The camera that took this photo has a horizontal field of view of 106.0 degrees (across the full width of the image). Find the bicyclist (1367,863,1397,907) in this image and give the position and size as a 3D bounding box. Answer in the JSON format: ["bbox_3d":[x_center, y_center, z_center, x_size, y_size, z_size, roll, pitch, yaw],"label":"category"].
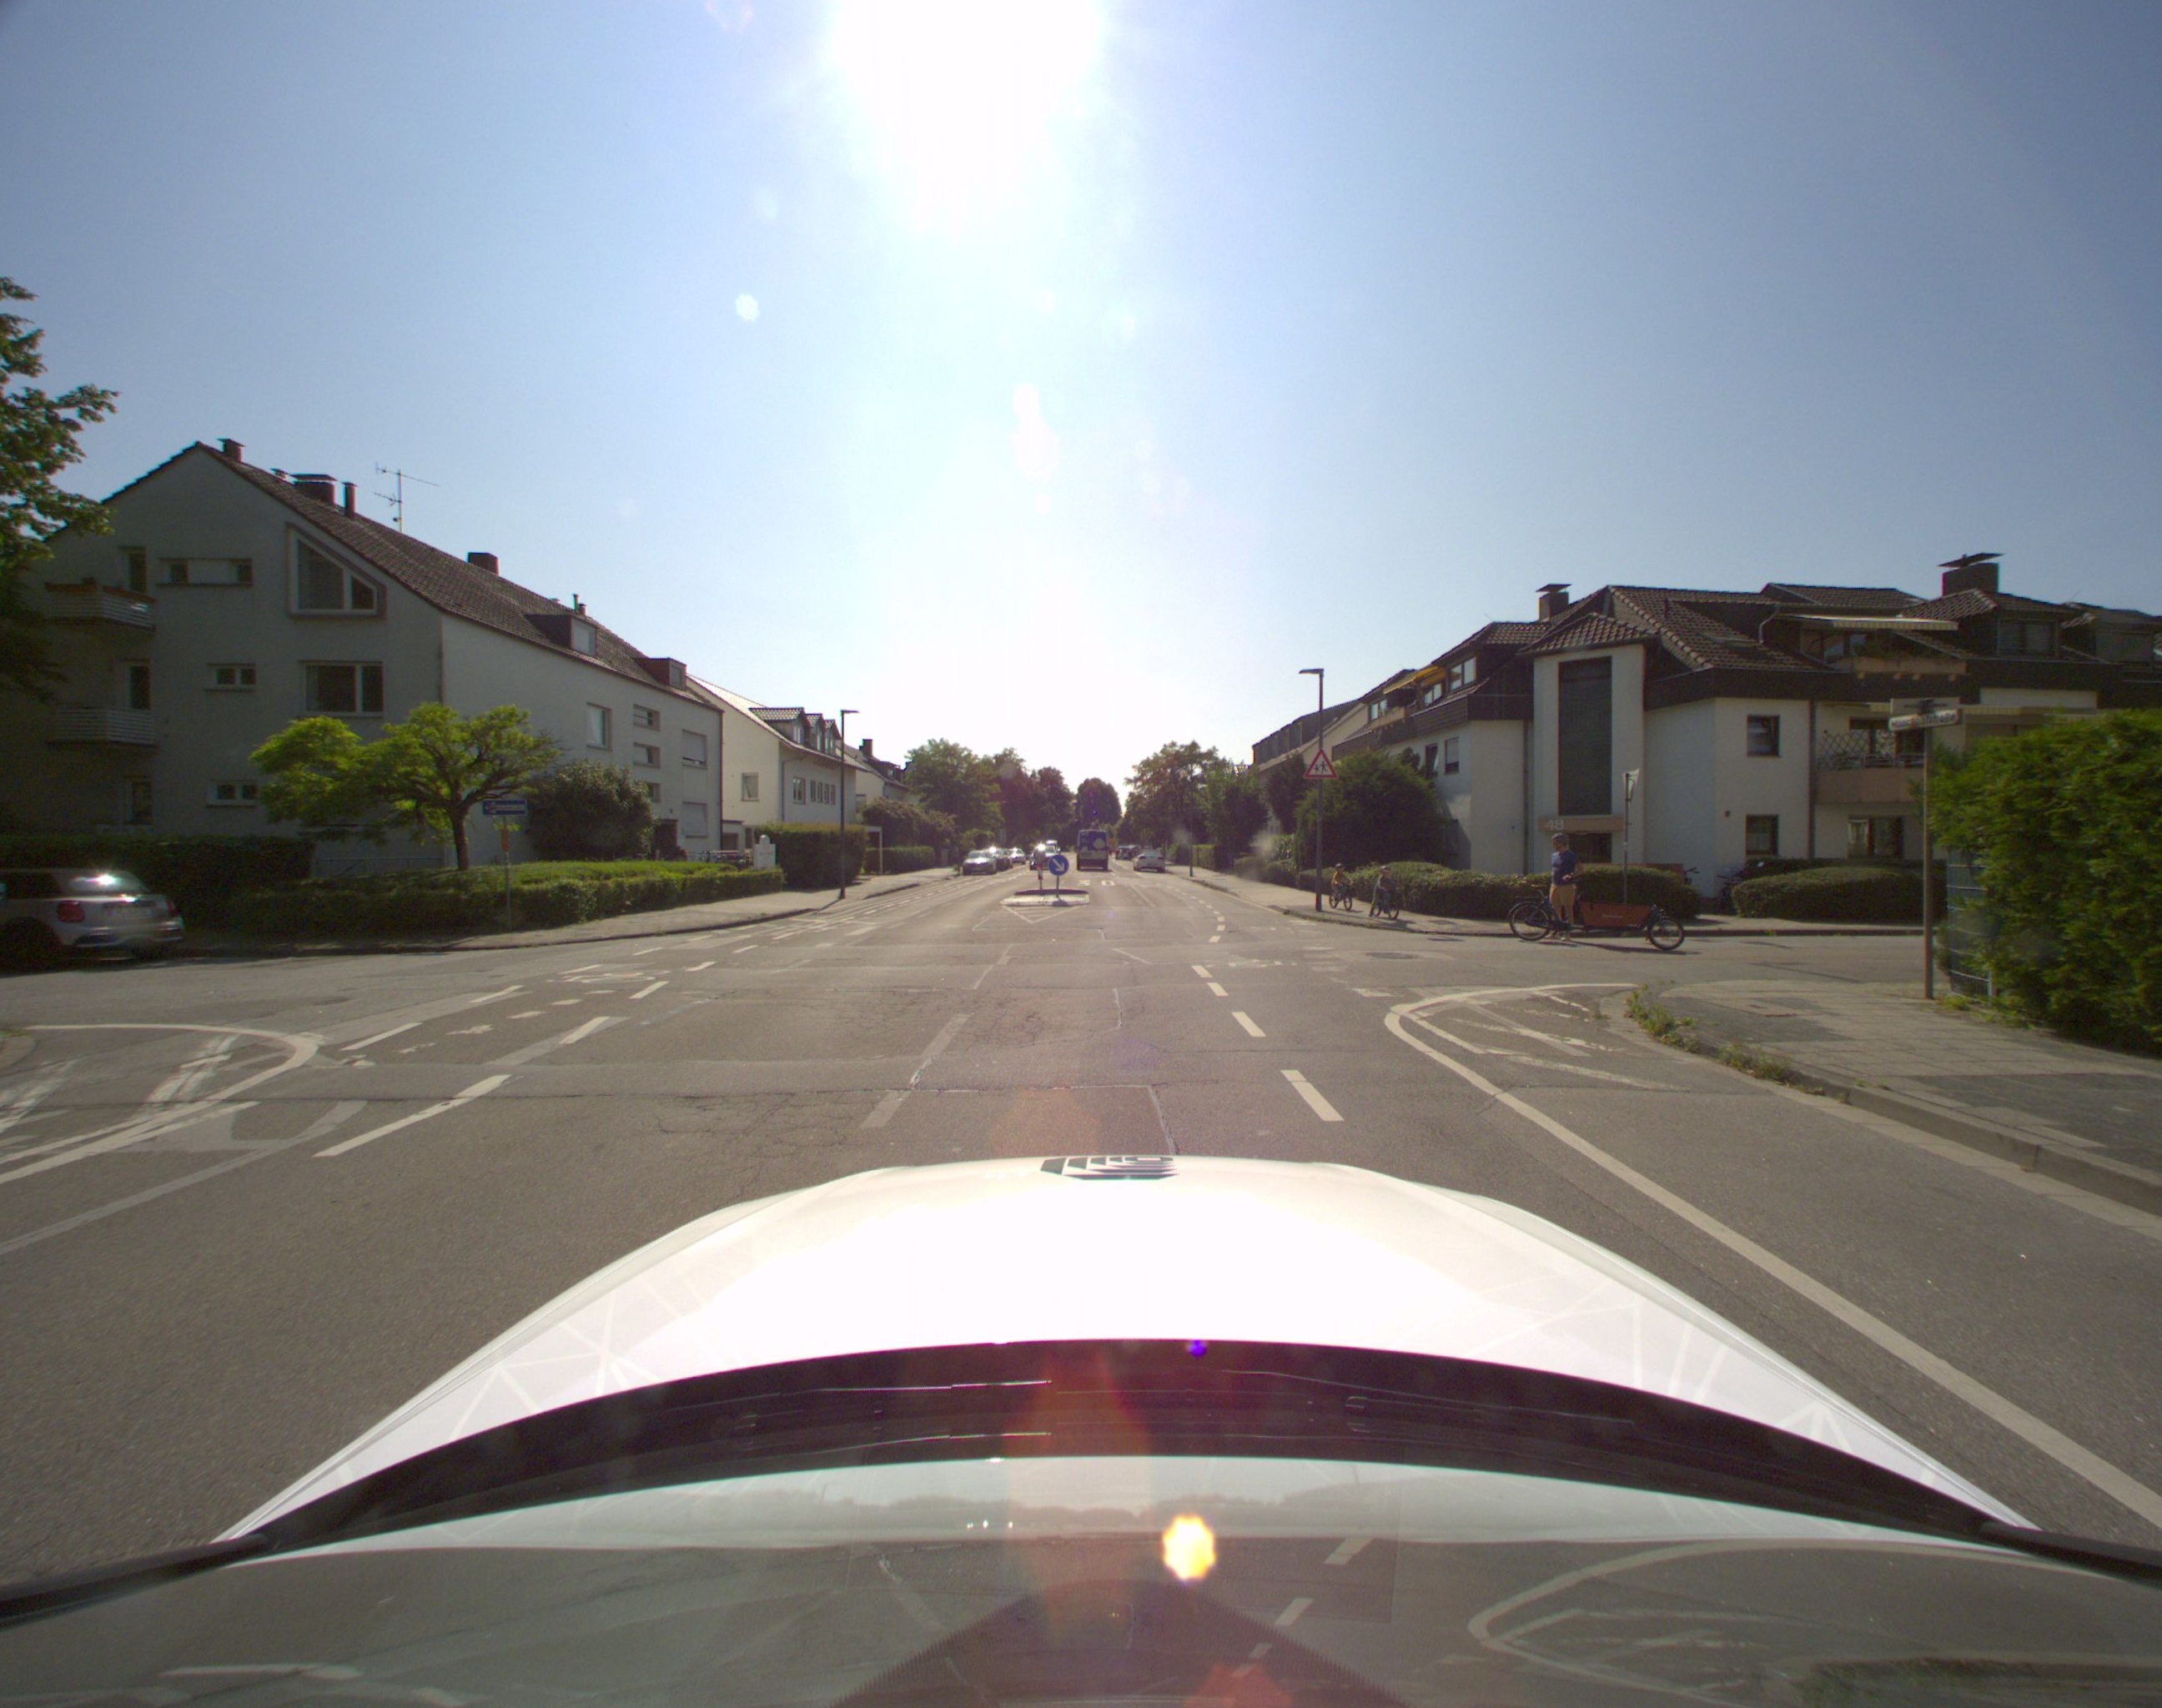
[{"bbox_3d":[6.516,0.657,17.651,0.400,0.929,0.657,0,0,-2],"label":"bicyclist"}]

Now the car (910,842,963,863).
[{"bbox_3d":[-11.839,-0.134,66.852,3.973,1.759,2.000,0,1,0],"label":"car"}]

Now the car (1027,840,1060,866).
[{"bbox_3d":[-2.538,-0.067,55.995,1.908,1.666,4.508,-2,0,2],"label":"car"}]

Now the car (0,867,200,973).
[{"bbox_3d":[-15.803,0.937,12.108,3.481,1.412,1.726,0,0,0],"label":"car"}]

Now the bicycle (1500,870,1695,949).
[{"bbox_3d":[8.560,0.879,13.627,2.677,1.158,0.869,0,0,33],"label":"bicycle"}]

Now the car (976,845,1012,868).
[{"bbox_3d":[-5.798,0.134,54.662,1.778,1.440,4.113,-1,1,2],"label":"car"}]

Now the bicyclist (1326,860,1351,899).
[{"bbox_3d":[6.334,0.631,20.046,0.397,0.933,0.608,0,0,-3],"label":"bicyclist"}]

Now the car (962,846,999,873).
[{"bbox_3d":[-5.885,0.313,47.936,1.781,1.440,4.151,-2,1,-2],"label":"car"}]

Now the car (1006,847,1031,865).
[{"bbox_3d":[-5.434,0.152,71.085,1.779,1.440,4.000,-1,1,0],"label":"car"}]

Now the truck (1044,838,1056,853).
[{"bbox_3d":[-5.425,-1.443,141.194,2.075,2.537,5.463,0,1,-2],"label":"truck"}]

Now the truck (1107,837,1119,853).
[{"bbox_3d":[6.138,-1.765,156.701,2.206,2.946,5.688,0,0,1],"label":"truck"}]

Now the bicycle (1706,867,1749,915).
[{"bbox_3d":[16.590,0.931,20.887,1.695,1.095,0.624,-3,2,-43],"label":"bicycle"}]

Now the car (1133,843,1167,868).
[{"bbox_3d":[4.321,0.066,51.284,1.735,1.402,4.073,2,1,0],"label":"car"}]

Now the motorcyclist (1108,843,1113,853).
[{"bbox_3d":[4.289,-0.863,119.130,0.670,1.518,0.652,0,0,0],"label":"motorcyclist"}]

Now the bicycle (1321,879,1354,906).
[{"bbox_3d":[6.319,0.934,20.077,0.400,0.599,1.150,-1,1,-2],"label":"bicycle"}]

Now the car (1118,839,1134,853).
[{"bbox_3d":[5.480,-1.025,99.373,1.778,1.638,4.472,0,1,1],"label":"car"}]

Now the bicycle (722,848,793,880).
[{"bbox_3d":[-12.265,0.356,30.918,2.447,1.106,0.532,-1,6,-31],"label":"bicycle"}]

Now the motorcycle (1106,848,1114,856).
[{"bbox_3d":[4.279,-0.274,119.308,1.053,1.122,2.992,0,0,1],"label":"motorcycle"}]

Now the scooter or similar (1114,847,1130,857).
[{"bbox_3d":[4.895,-0.258,96.626,0.724,1.154,1.775,3,1,-45],"label":"scooter or similar"}]

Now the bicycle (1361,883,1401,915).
[{"bbox_3d":[6.523,0.974,17.758,0.400,0.599,1.173,-1,1,-2],"label":"bicycle"}]

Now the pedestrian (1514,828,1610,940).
[{"bbox_3d":[8.477,0.493,14.374,0.905,1.872,1.177,0,0,-33],"label":"pedestrian"}]

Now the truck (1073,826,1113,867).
[{"bbox_3d":[0.720,-0.478,53.459,2.268,2.571,4.386,0,0,-4],"label":"truck"}]
